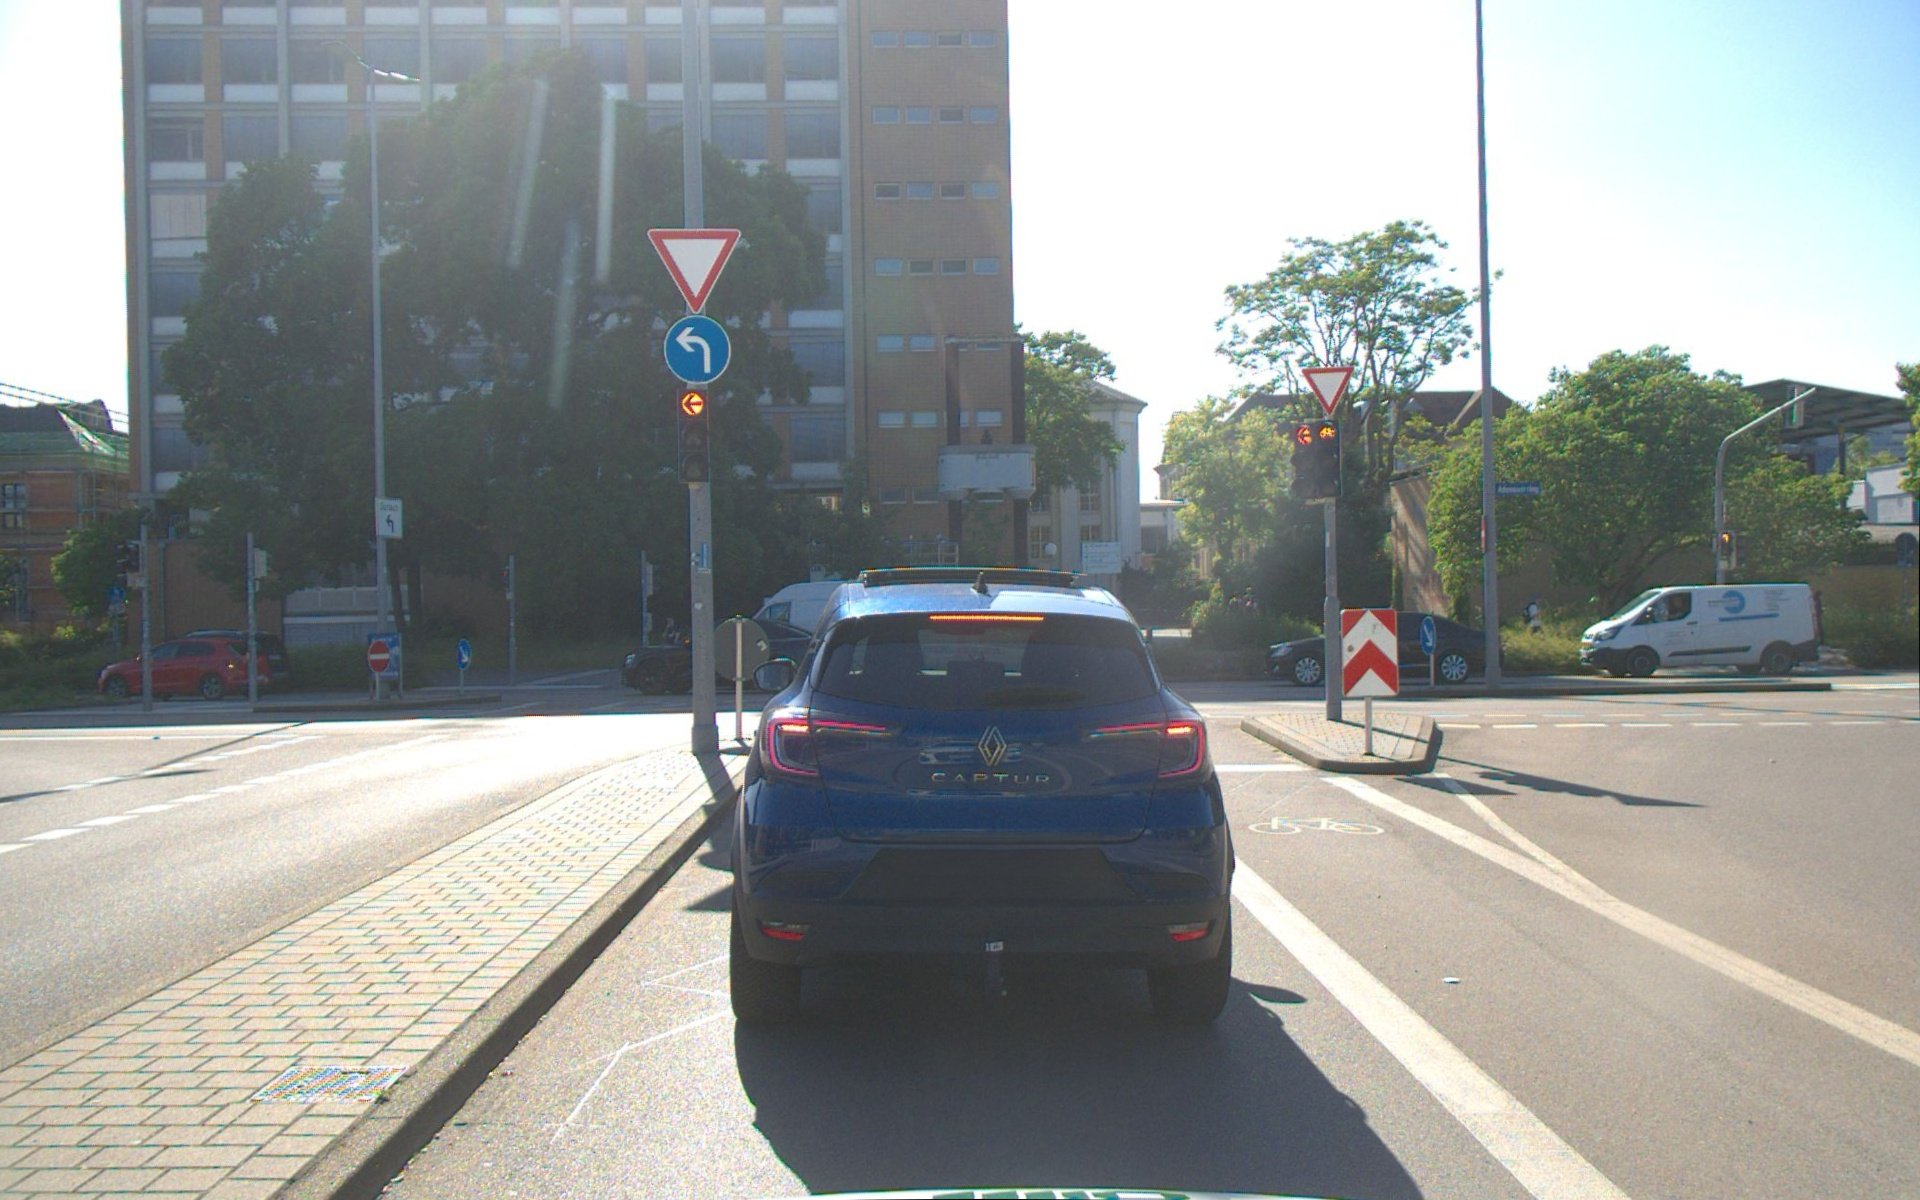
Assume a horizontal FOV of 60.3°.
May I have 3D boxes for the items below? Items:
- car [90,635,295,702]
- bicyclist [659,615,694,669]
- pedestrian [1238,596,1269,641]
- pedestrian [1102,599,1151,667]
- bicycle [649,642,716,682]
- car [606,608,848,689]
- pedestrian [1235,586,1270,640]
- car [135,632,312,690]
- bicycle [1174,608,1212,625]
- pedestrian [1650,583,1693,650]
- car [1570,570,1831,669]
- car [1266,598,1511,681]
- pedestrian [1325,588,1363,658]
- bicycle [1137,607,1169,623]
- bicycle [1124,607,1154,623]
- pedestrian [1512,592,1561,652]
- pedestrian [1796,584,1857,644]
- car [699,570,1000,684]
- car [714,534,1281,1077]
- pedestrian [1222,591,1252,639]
[{"bbox_3d":[-18.407,1.642,39.750,3.958,1.464,2.067,-1,0,9],"label":"car"},{"bbox_3d":[-7.645,1.137,44.625,0.635,1.437,0.637,-3,-3,34],"label":"bicyclist"},{"bbox_3d":[11.028,0.693,62.149,0.917,1.641,1.175,-1,0,-1],"label":"pedestrian"},{"bbox_3d":[4.737,0.933,47.082,1.269,1.888,0.967,-1,0,11],"label":"pedestrian"},{"bbox_3d":[-7.509,1.672,44.809,0.686,1.025,1.862,-4,-3,34],"label":"bicycle"},{"bbox_3d":[-5.147,1.089,36.884,4.922,1.702,2.001,1,-3,10],"label":"car"},{"bbox_3d":[11.439,0.505,64.704,1.132,2.049,1.164,-1,0,-1],"label":"pedestrian"},{"bbox_3d":[-20.049,1.654,45.075,3.958,1.464,2.067,-1,0,15],"label":"car"},{"bbox_3d":[11.849,0.827,84.091,1.739,0.837,0.763,-1,0,-11],"label":"bicycle"},{"bbox_3d":[19.105,0.432,44.441,0.943,1.763,0.926,-1,0,17],"label":"pedestrian"},{"bbox_3d":[16.447,0.433,36.975,4.893,2.049,2.074,-1,0,7],"label":"car"},{"bbox_3d":[8.978,0.816,35.004,4.739,1.609,2.103,-1,0,6],"label":"car"},{"bbox_3d":[10.519,0.625,45.296,0.912,1.888,0.808,-1,0,8],"label":"pedestrian"},{"bbox_3d":[11.191,0.866,95.882,1.735,0.914,0.765,-1,0,-1],"label":"bicycle"},{"bbox_3d":[10.845,0.892,100.241,1.735,0.908,0.765,-1,0,-1],"label":"bicycle"},{"bbox_3d":[15.335,0.580,44.039,1.062,1.547,0.931,-1,0,9],"label":"pedestrian"},{"bbox_3d":[22.871,0.377,43.670,1.122,1.547,0.942,-1,0,5],"label":"pedestrian"},{"bbox_3d":[-2.657,0.664,40.693,6.787,2.591,3.015,-1,0,12],"label":"car"},{"bbox_3d":[0.066,0.634,7.090,1.758,1.684,3.852,1,0,-2],"label":"car"},{"bbox_3d":[10.459,0.570,62.548,0.933,1.772,0.984,-1,0,-1],"label":"pedestrian"}]
